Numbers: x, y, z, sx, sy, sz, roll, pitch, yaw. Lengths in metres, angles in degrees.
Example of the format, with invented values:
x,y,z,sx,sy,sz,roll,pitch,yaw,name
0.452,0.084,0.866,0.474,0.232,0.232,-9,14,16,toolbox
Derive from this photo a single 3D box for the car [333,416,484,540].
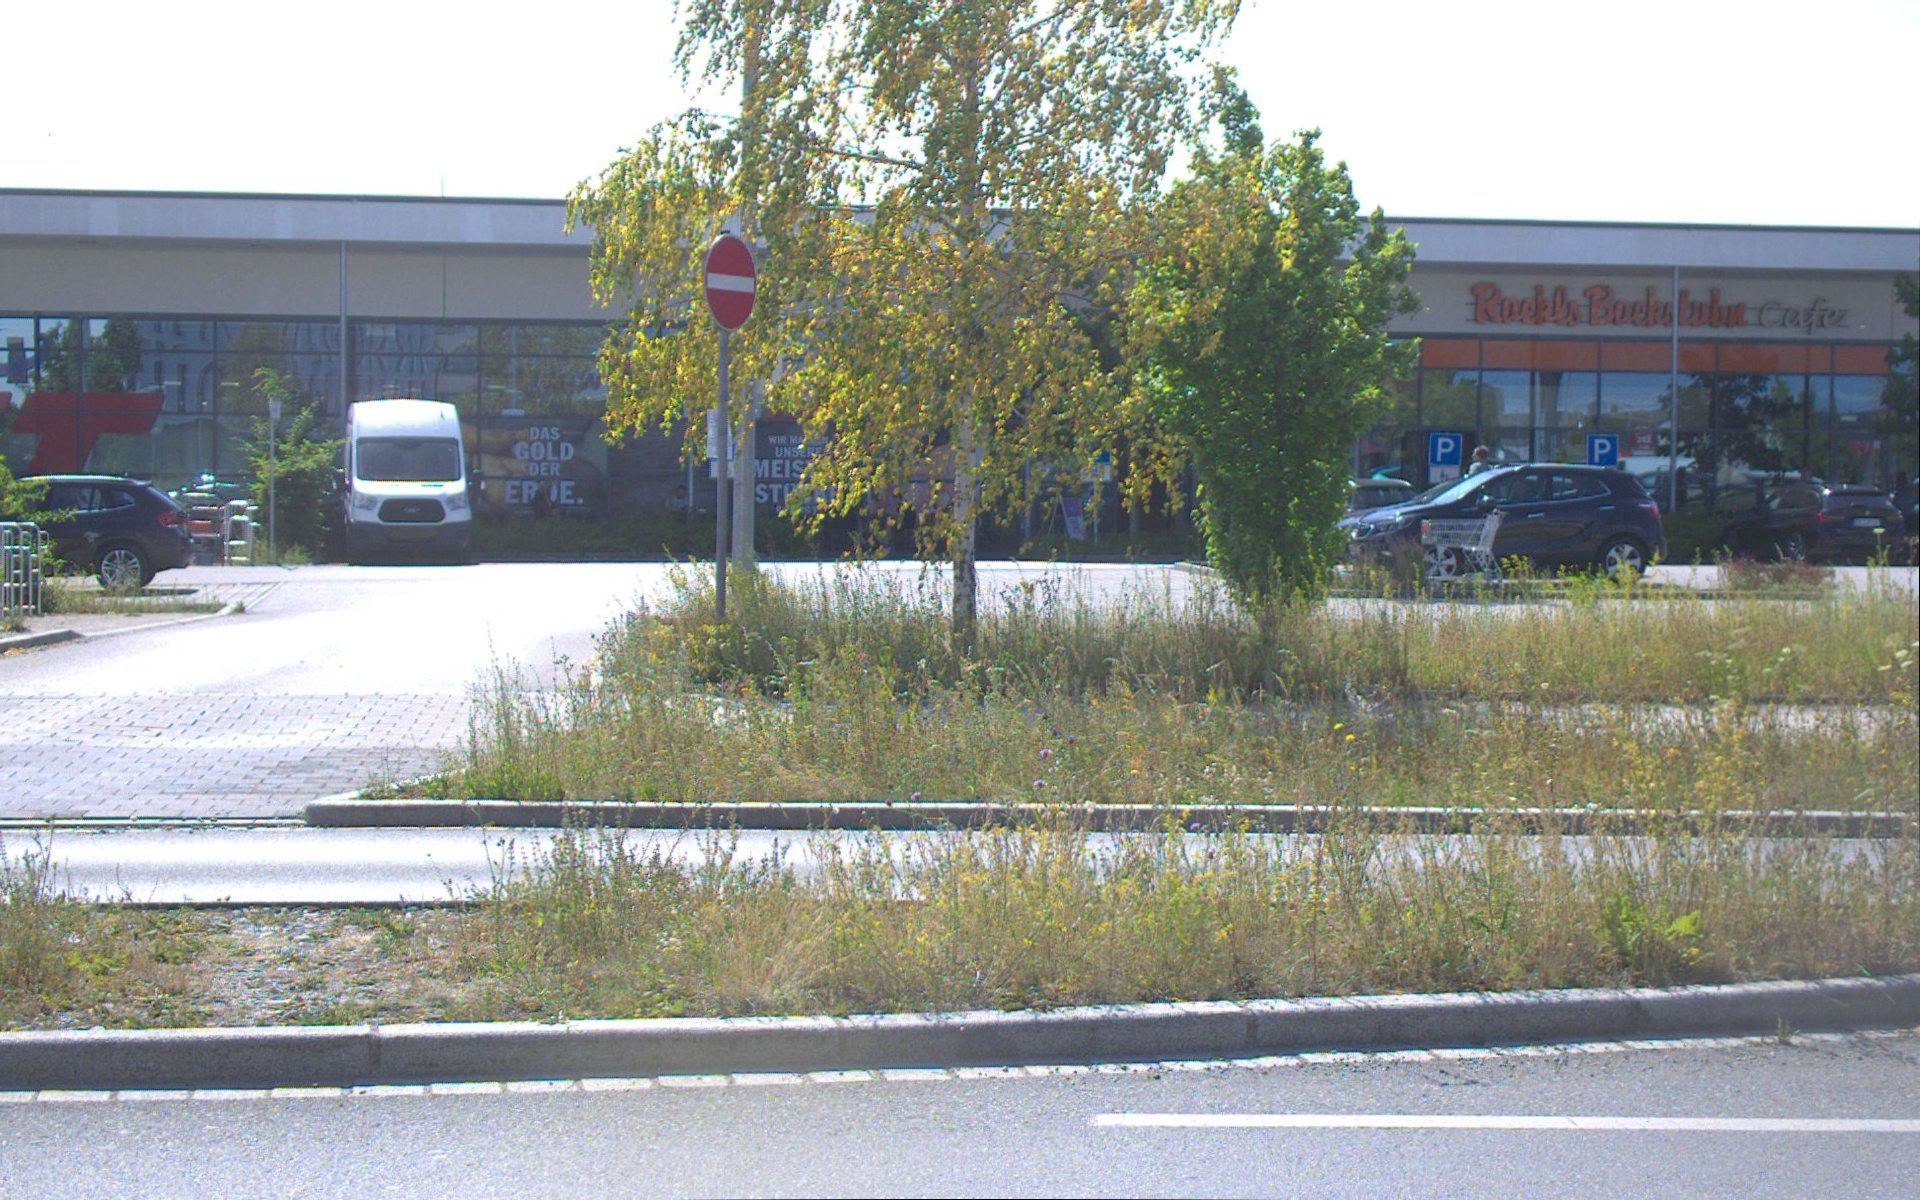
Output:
x,y,z,sx,sy,sz,roll,pitch,yaw,name
-9.415,-2.089,58.297,2.222,1.970,6.699,0,2,-12,car

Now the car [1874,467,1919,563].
x,y,z,sx,sy,sz,roll,pitch,yaw,name
18.120,-1.524,61.813,1.993,1.701,4.001,1,2,-4,car

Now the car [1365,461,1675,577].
x,y,z,sx,sy,sz,roll,pitch,yaw,name
7.566,-1.107,46.635,3.793,1.503,1.732,0,2,-7,car

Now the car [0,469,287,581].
x,y,z,sx,sy,sz,roll,pitch,yaw,name
-11.052,-1.018,46.377,3.831,1.418,1.773,1,2,-11,car

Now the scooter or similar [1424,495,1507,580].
x,y,z,sx,sy,sz,roll,pitch,yaw,name
6.586,-0.816,44.842,0.943,1.075,0.652,1,2,-3,scooter or similar

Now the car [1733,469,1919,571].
x,y,z,sx,sy,sz,roll,pitch,yaw,name
15.490,-1.451,61.218,1.993,1.701,4.002,0,3,-9,car
